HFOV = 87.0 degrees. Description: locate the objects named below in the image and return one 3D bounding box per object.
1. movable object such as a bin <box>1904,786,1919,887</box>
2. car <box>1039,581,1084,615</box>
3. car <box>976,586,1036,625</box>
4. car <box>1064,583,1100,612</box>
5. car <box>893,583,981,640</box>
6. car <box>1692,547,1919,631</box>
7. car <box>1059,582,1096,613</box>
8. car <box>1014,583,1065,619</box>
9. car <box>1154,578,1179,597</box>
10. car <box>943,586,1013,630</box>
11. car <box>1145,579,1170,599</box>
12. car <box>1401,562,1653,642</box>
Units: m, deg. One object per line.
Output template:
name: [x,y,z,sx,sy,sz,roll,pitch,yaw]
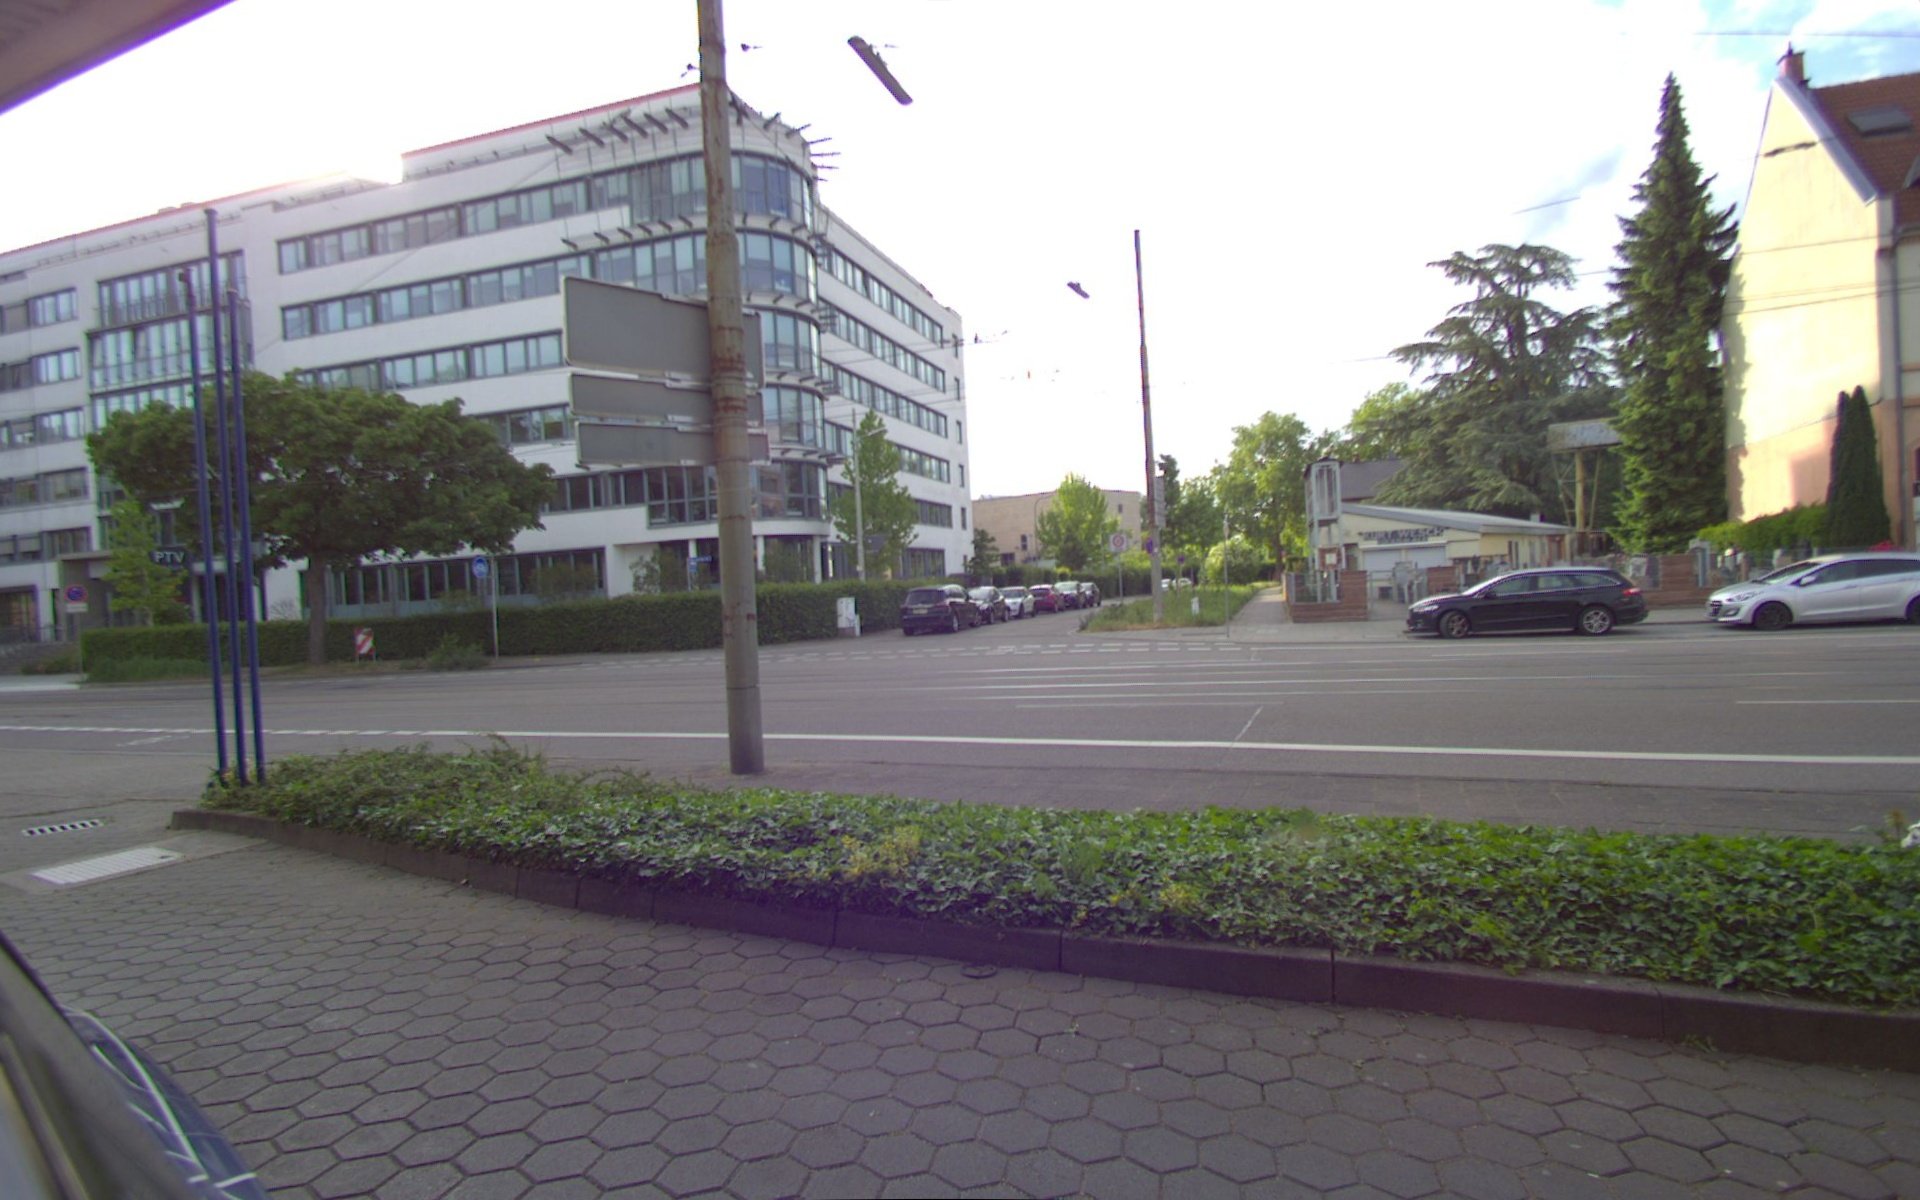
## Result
movable object such as a bin: [4.703,1.101,4.482,0.678,0.424,0.475,-1,-1,33]
car: [5.831,-0.154,57.724,1.929,1.748,4.512,-3,0,13]
car: [2.140,0.211,45.789,1.929,1.530,4.274,-3,0,13]
car: [8.087,-0.176,66.759,1.845,1.748,4.256,-3,0,13]
car: [-0.727,0.359,35.418,1.994,1.704,4.274,-3,1,13]
car: [18.422,-0.251,21.386,4.424,1.494,1.713,-3,1,21]
car: [7.285,-0.165,62.498,1.731,1.748,4.030,-3,0,13]
car: [4.172,0.019,52.495,1.929,1.650,4.274,-3,0,13]
car: [21.682,-1.345,106.166,1.849,1.748,4.246,-3,1,19]
car: [0.792,0.289,40.978,1.929,1.551,4.274,-3,0,13]
car: [19.691,-1.094,100.796,1.849,1.748,4.247,-3,1,19]
car: [12.911,0.050,23.446,4.742,1.511,2.001,-3,1,21]
